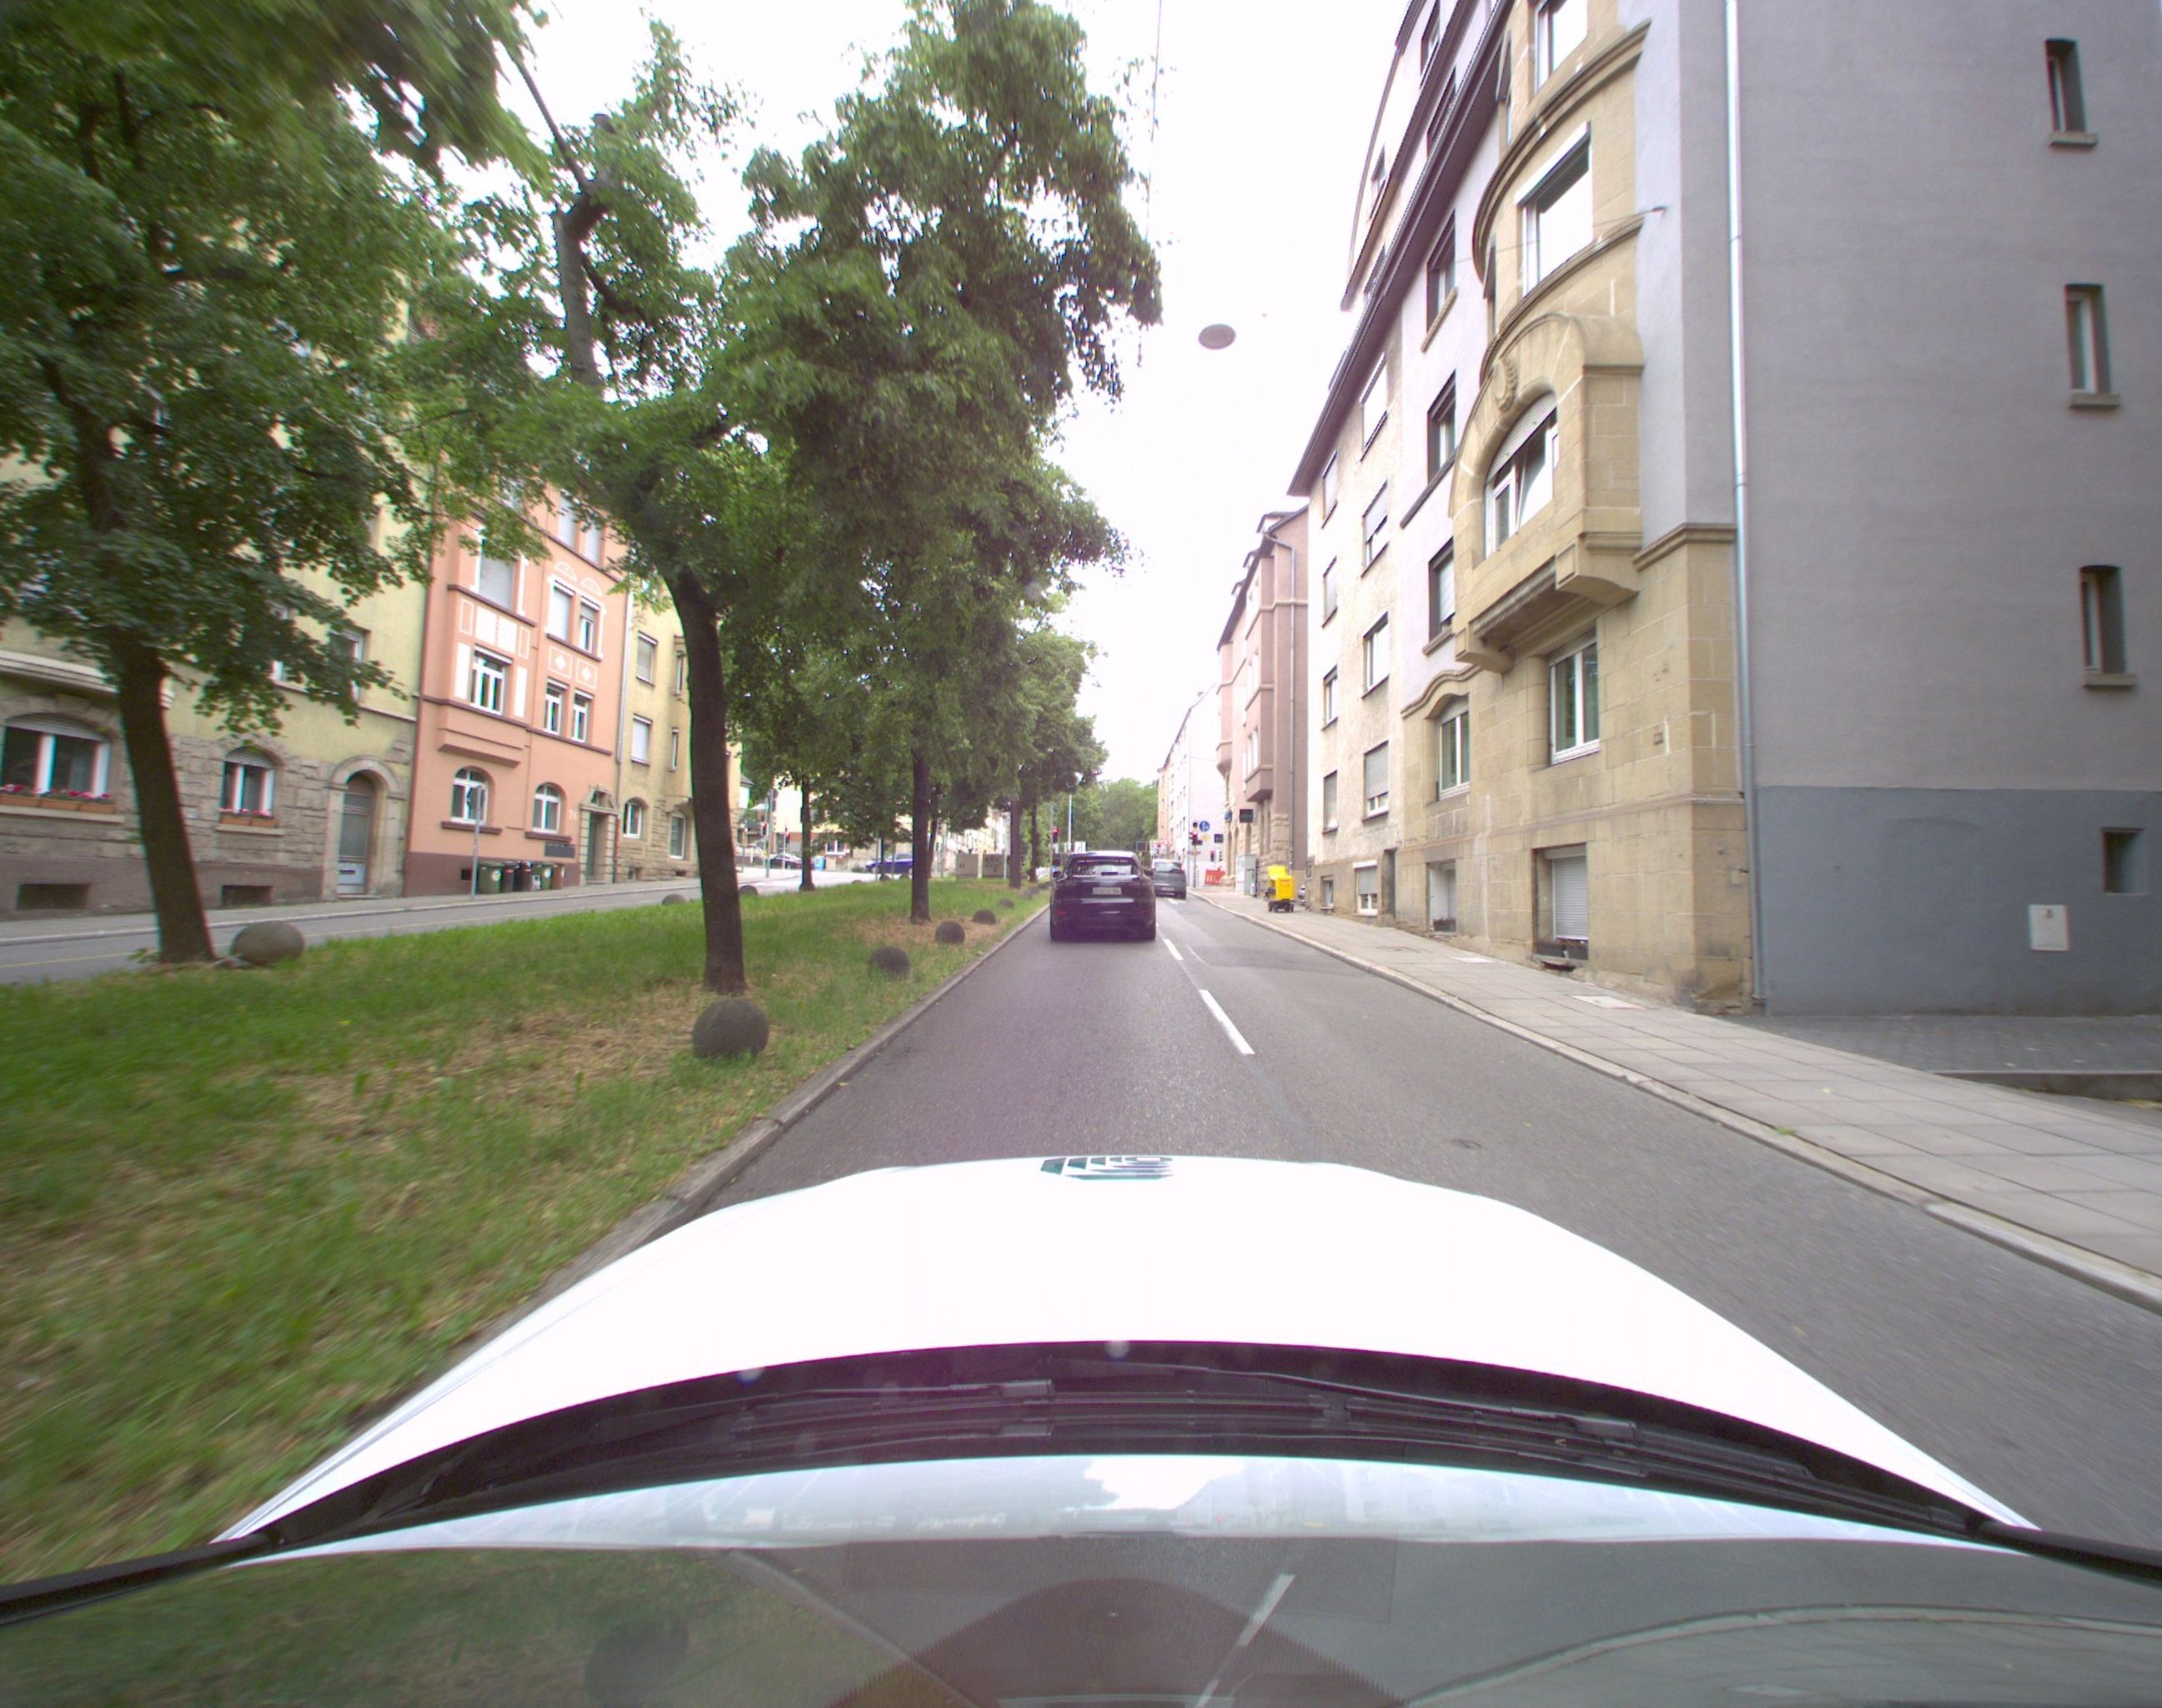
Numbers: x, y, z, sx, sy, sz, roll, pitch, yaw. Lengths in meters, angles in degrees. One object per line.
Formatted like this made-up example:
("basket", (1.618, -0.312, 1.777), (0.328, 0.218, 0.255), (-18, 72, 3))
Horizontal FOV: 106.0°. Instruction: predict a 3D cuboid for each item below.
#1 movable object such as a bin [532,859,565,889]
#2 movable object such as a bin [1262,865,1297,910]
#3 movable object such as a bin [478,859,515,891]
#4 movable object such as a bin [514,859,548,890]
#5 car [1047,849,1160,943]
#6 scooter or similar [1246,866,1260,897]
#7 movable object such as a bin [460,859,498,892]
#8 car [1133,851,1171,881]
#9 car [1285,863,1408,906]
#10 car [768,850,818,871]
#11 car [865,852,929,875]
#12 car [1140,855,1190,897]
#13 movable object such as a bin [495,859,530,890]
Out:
("movable object such as a bin", (-16.977, 0.632, 25.987), (0.607, 0.904, 0.601), (2, -1, -2))
("movable object such as a bin", (6.402, 1.062, 26.292), (0.717, 1.421, 1.693), (0, -2, 0))
("movable object such as a bin", (-17.047, 0.607, 23.750), (0.607, 0.904, 0.601), (2, -1, -2))
("movable object such as a bin", (-17.052, 0.630, 25.262), (0.607, 0.904, 0.601), (2, -1, -2))
("car", (0.490, 0.734, 16.353), (1.986, 1.653, 4.003), (0, 0, 3))
("scooter or similar", (7.128, 1.132, 33.820), (0.399, 1.188, 1.356), (0, 1, 6))
("movable object such as a bin", (-17.084, 0.598, 23.114), (0.607, 0.904, 0.601), (2, -1, -2))
("car", (3.973, 0.683, 46.043), (1.986, 1.653, 4.002), (0, -1, 3))
("car", (9.799, 1.111, 30.262), (3.972, 1.403, 1.801), (1, 2, 2))
("car", (-23.662, 0.564, 66.824), (3.948, 1.665, 1.894), (-1, -3, 35))
("car", (-13.214, 0.651, 58.676), (4.197, 1.510, 1.797), (2, 0, -4))
("car", (3.565, 0.924, 35.169), (1.746, 1.593, 3.631), (5, 0, 1))
("movable object such as a bin", (-17.042, 0.619, 24.418), (0.607, 0.904, 0.601), (2, -1, -2))
